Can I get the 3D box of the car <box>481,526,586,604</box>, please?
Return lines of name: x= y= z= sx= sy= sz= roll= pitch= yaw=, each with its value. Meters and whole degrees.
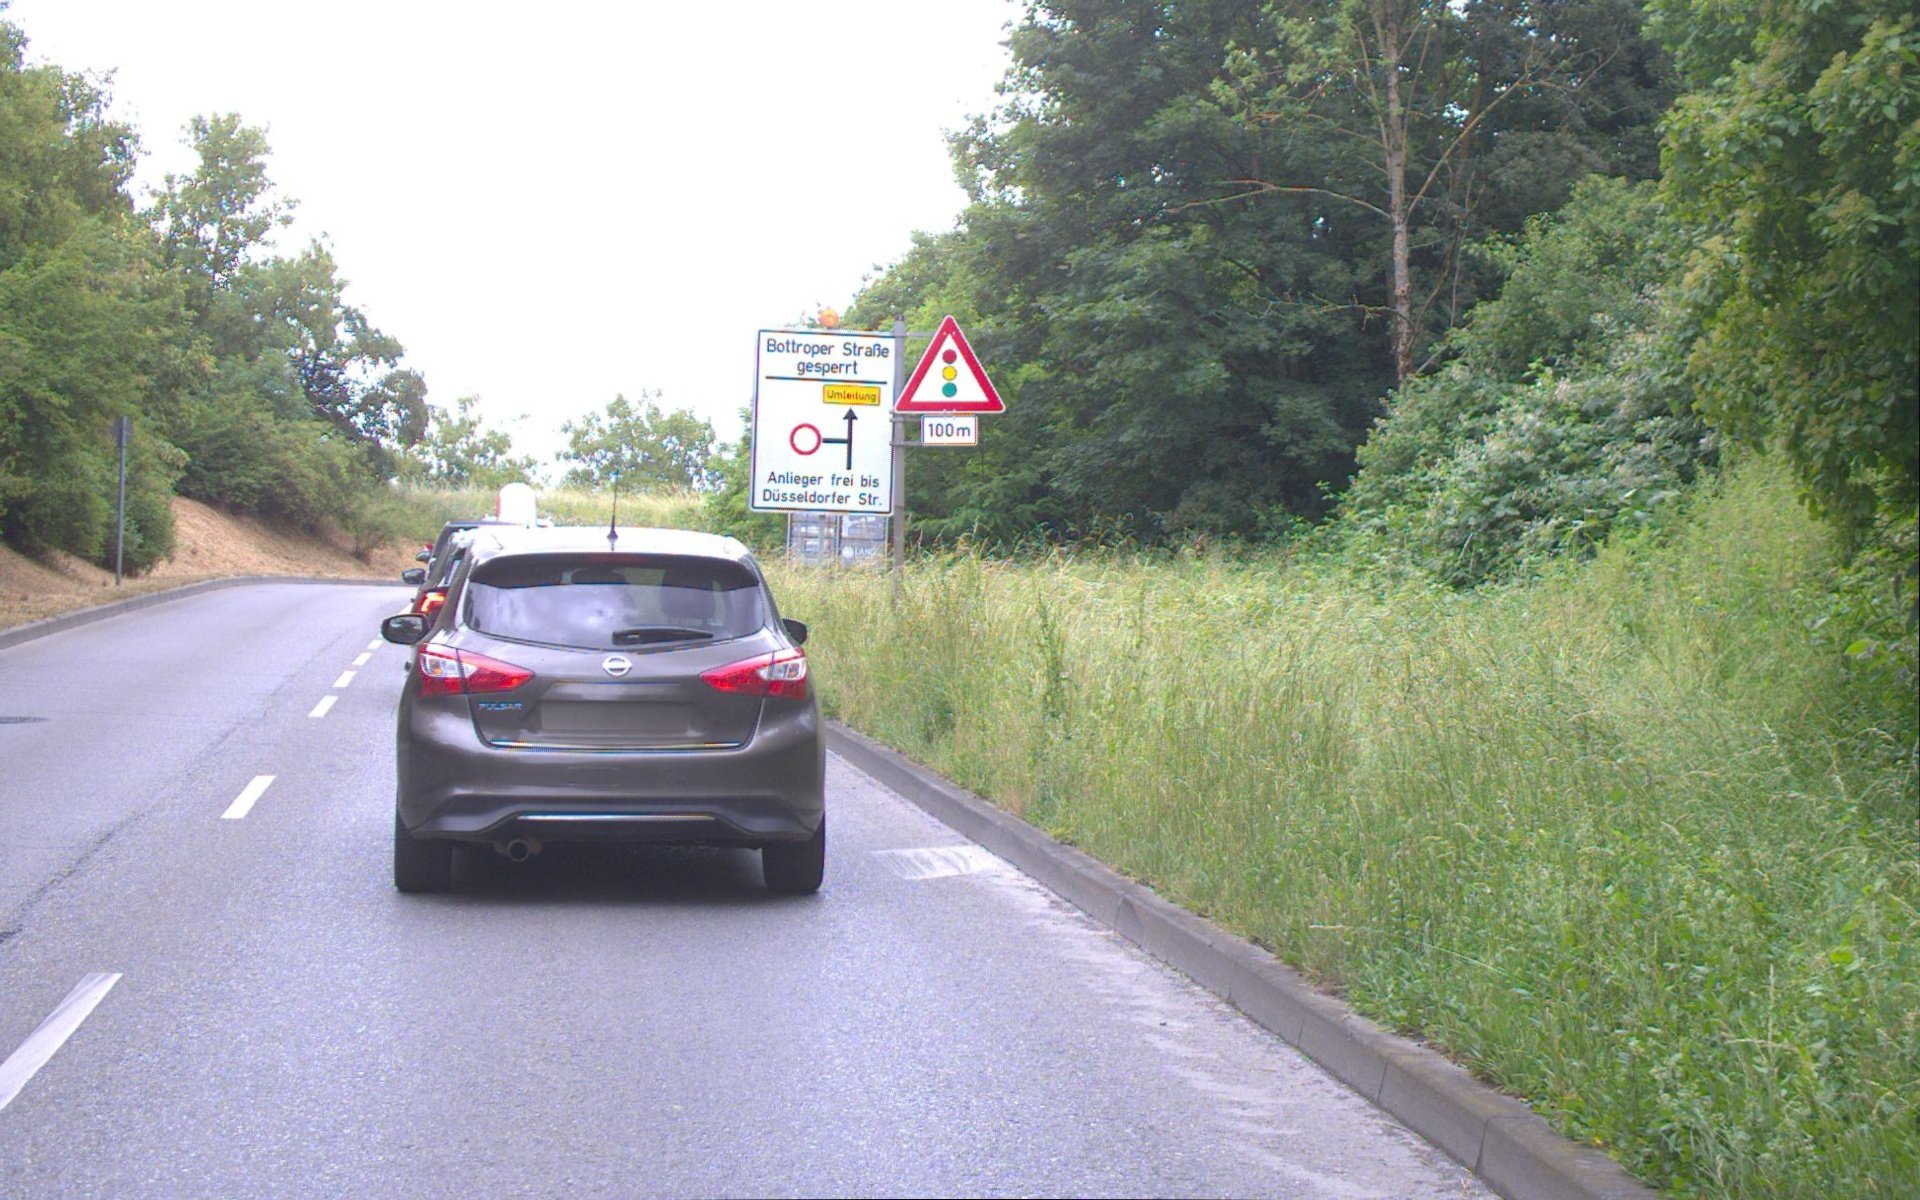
car: x=-8.629 y=-0.736 z=69.753 sx=1.736 sy=1.521 sz=3.642 roll=0 pitch=1 yaw=-1

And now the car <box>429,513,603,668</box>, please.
car: x=-4.674 y=-0.138 z=36.288 sx=1.735 sy=1.551 sz=3.544 roll=0 pitch=1 yaw=-7

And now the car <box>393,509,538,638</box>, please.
car: x=-6.203 y=-0.362 z=43.394 sx=1.735 sy=1.551 sz=3.544 roll=0 pitch=1 yaw=-7

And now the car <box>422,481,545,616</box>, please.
car: x=-7.013 y=-0.778 z=50.783 sx=1.735 sy=1.928 sz=3.544 roll=0 pitch=1 yaw=-7

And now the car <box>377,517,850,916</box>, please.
car: x=-1.578 y=0.423 z=15.234 sx=1.830 sy=1.551 sz=3.500 roll=1 pitch=1 yaw=-7

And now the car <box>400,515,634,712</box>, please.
car: x=-3.710 y=0.064 z=28.921 sx=1.830 sy=1.551 sz=3.625 roll=0 pitch=1 yaw=-7
